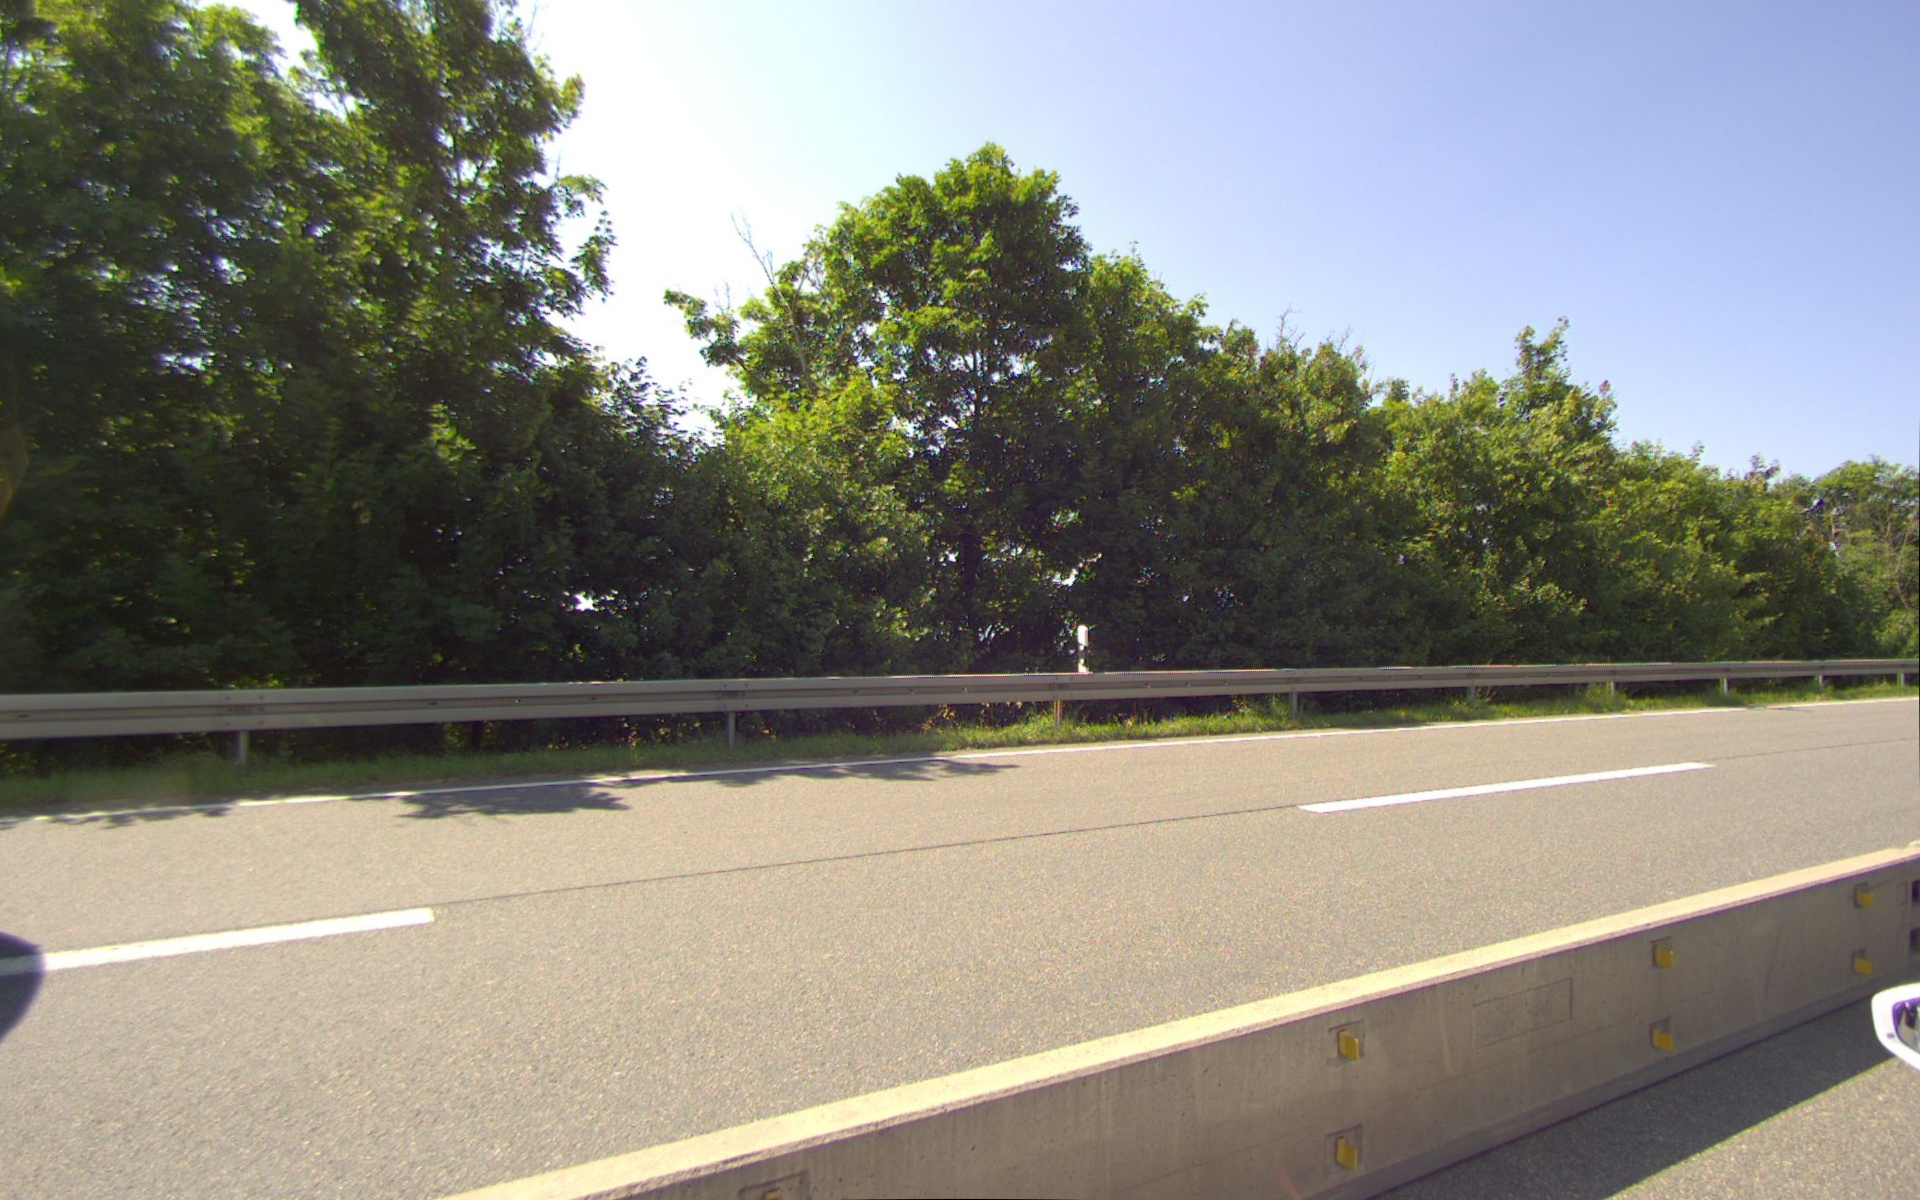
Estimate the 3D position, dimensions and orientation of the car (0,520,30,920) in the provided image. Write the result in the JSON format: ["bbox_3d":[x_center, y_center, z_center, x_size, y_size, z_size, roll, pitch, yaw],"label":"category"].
[{"bbox_3d":[-5.824,0.497,2.936,4.236,1.788,1.746,1,-1,-31],"label":"car"}]
